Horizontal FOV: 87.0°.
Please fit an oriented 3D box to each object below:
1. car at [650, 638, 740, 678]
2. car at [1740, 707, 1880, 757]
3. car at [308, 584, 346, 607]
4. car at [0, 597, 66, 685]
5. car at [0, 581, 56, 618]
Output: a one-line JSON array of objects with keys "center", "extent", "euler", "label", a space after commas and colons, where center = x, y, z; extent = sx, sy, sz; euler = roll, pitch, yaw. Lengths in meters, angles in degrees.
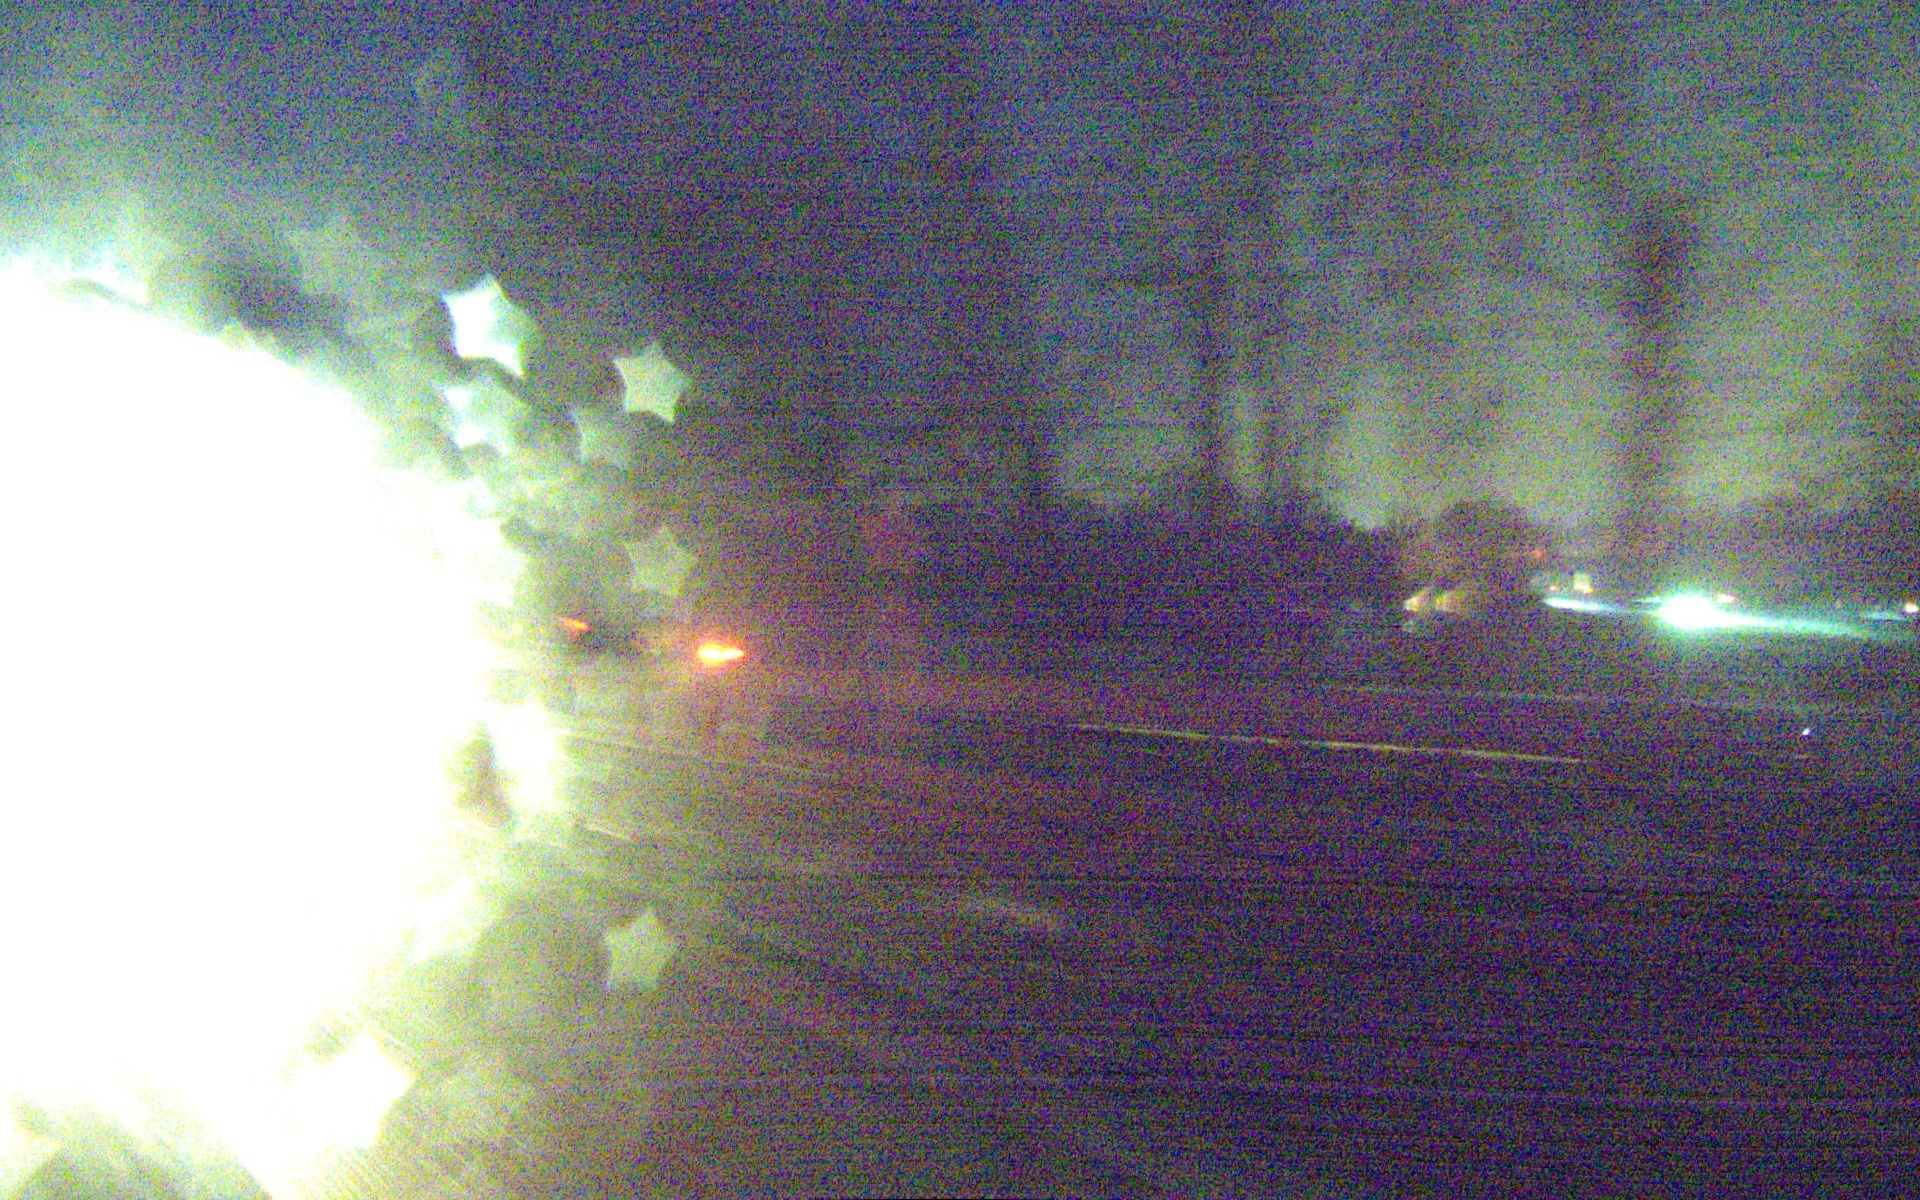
[{"center": [-12.340, 2.659, 47.044], "extent": [4.086, 1.436, 1.727], "euler": [3, 3, 31], "label": "car"}, {"center": [27.706, 4.287, 33.038], "extent": [3.379, 1.438, 1.507], "euler": [1, -1, -4], "label": "car"}, {"center": [-49.071, -0.338, 78.416], "extent": [1.737, 1.501, 4.050], "euler": [0, 3, -43], "label": "car"}, {"center": [-17.488, 0.691, 18.461], "extent": [1.661, 1.462, 3.648], "euler": [1, 0, -40], "label": "car"}, {"center": [-35.004, -0.056, 37.818], "extent": [1.735, 1.321, 4.090], "euler": [-1, 2, -43], "label": "car"}]
